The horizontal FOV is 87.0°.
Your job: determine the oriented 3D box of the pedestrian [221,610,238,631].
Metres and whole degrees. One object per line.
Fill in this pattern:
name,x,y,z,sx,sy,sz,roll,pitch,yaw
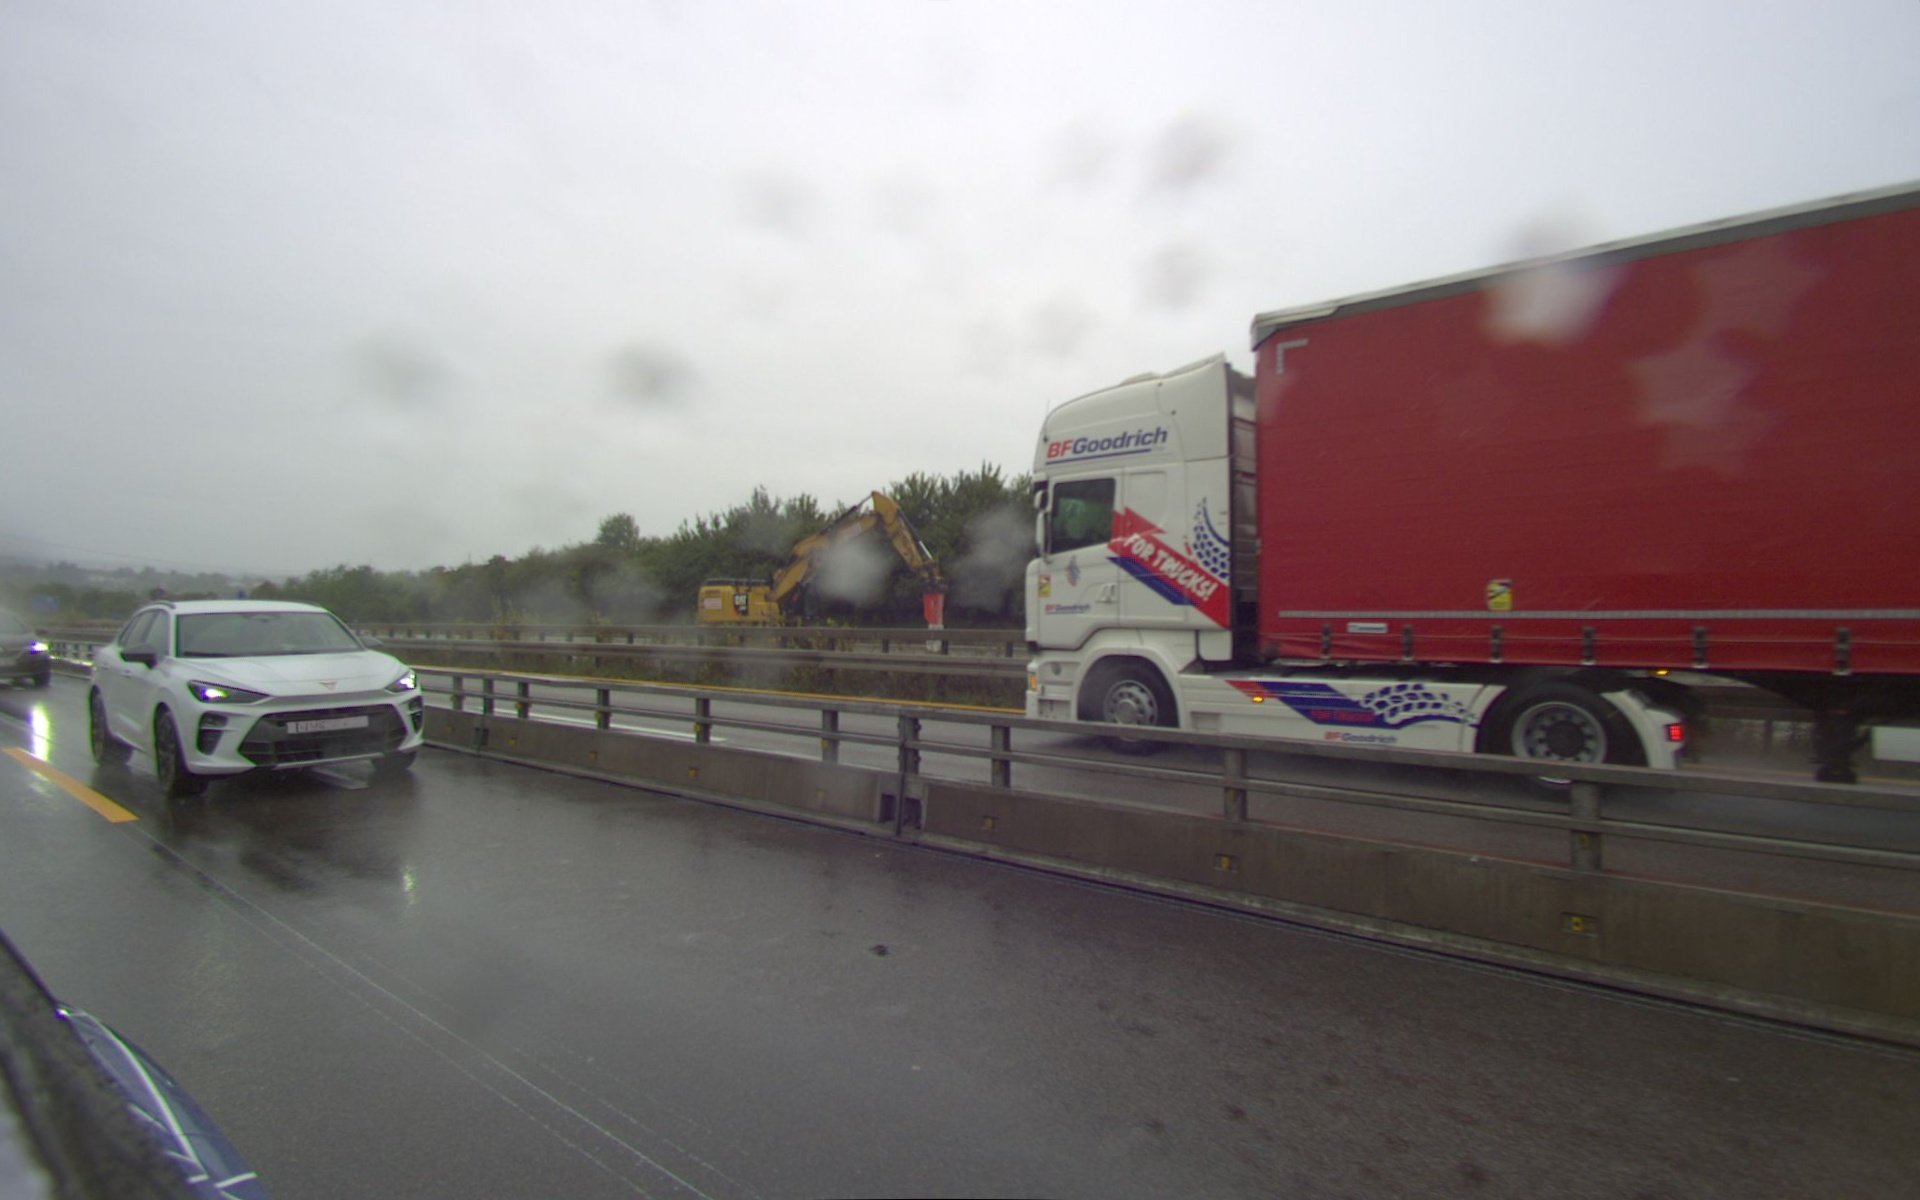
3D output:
pedestrian,-73.701,2.043,102.118,1.123,2.029,1.095,-1,0,35

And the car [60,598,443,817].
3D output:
car,-6.953,0.795,9.669,5.005,1.562,1.907,-1,0,42

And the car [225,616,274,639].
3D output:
car,-62.351,2.404,88.775,5.356,1.981,2.074,-1,-1,37

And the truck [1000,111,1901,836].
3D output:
truck,3.947,-0.702,9.365,6.797,4.304,2.976,-1,-2,41

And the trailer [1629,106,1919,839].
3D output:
trailer,9.694,-0.768,4.384,11.054,4.327,2.945,-1,-2,41

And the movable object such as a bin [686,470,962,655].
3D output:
movable object such as a bin,-5.411,-1.223,37.973,11.044,5.959,4.126,0,1,43

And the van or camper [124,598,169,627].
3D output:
van or camper,-126.168,1.881,156.982,8.490,4.356,3.337,-1,1,36

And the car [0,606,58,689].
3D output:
car,-20.977,0.968,21.606,5.194,1.640,2.042,-1,-1,42
